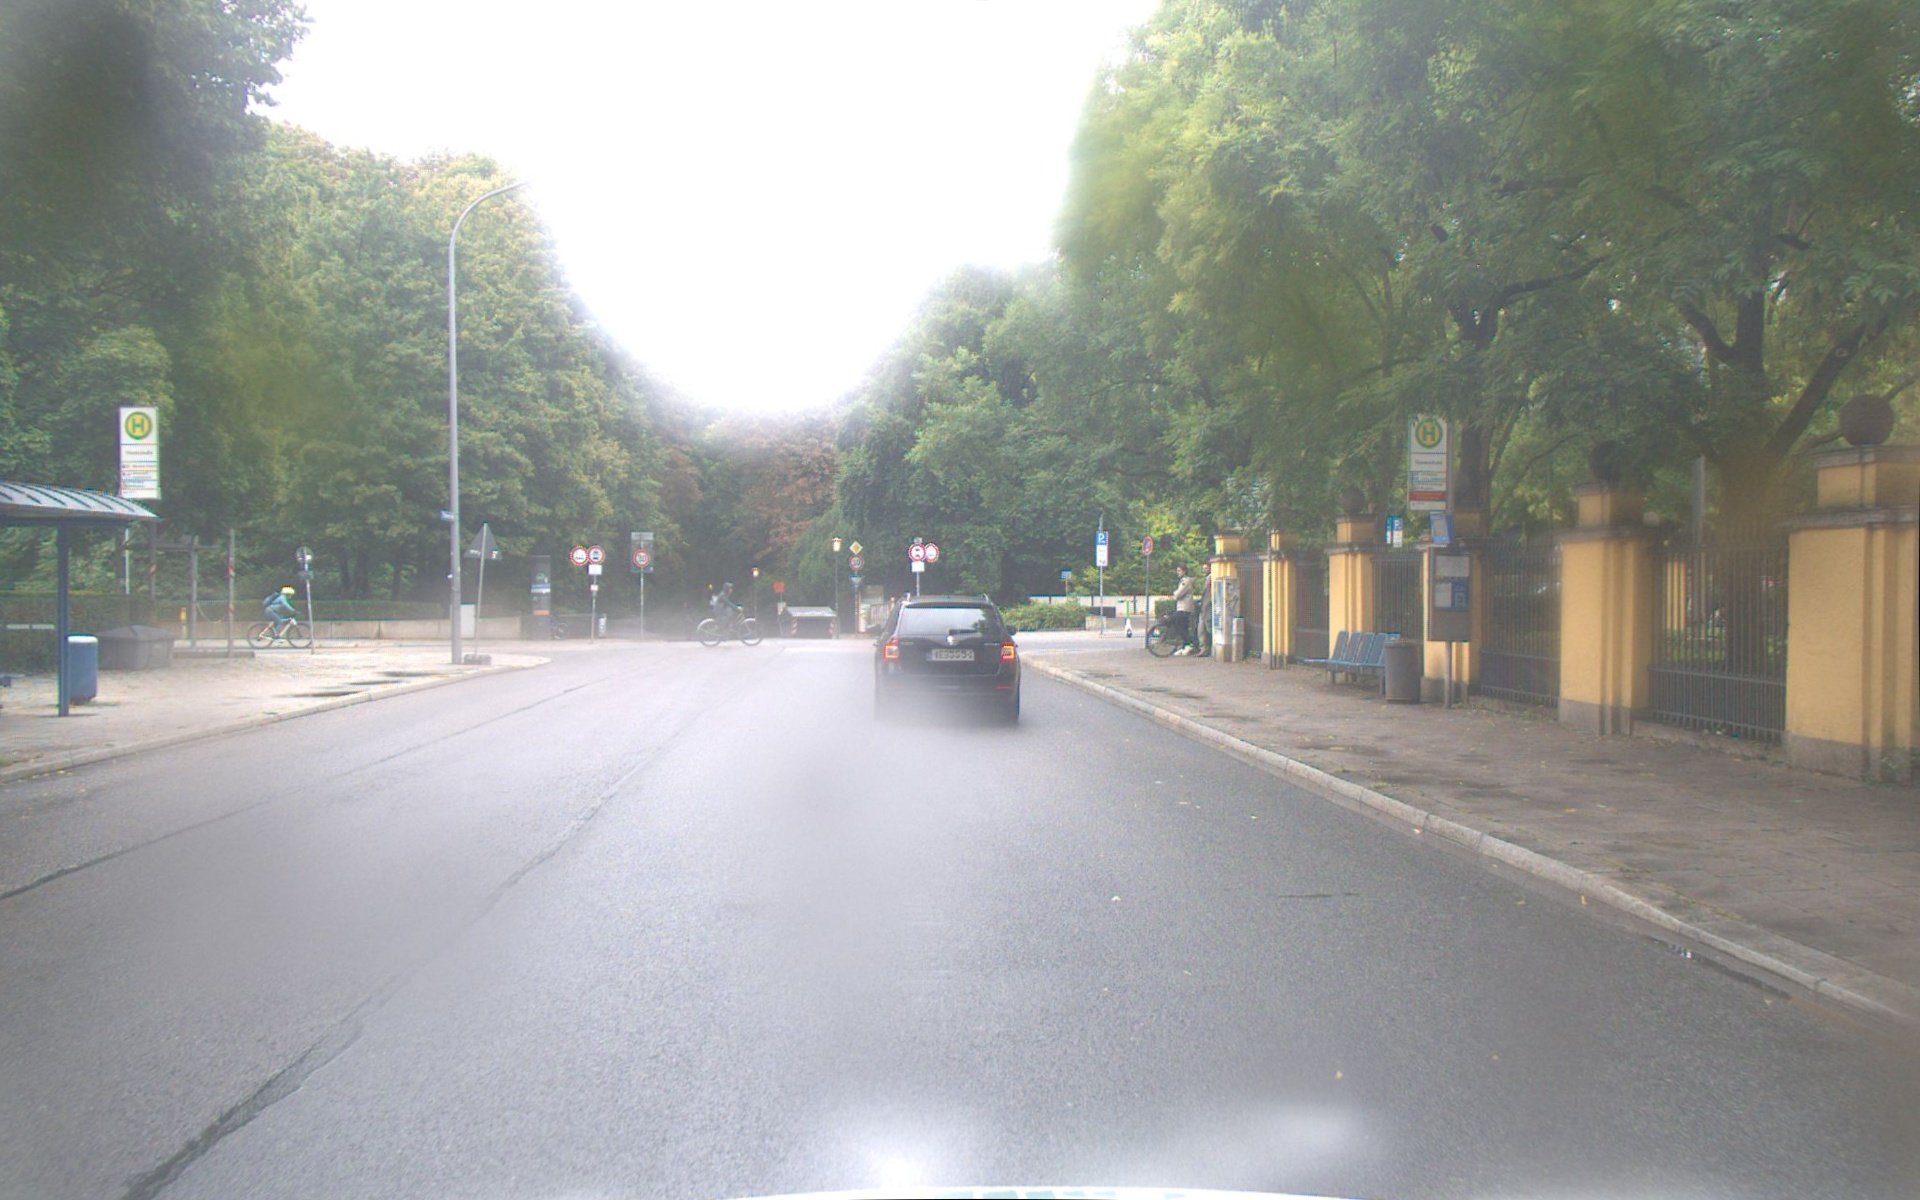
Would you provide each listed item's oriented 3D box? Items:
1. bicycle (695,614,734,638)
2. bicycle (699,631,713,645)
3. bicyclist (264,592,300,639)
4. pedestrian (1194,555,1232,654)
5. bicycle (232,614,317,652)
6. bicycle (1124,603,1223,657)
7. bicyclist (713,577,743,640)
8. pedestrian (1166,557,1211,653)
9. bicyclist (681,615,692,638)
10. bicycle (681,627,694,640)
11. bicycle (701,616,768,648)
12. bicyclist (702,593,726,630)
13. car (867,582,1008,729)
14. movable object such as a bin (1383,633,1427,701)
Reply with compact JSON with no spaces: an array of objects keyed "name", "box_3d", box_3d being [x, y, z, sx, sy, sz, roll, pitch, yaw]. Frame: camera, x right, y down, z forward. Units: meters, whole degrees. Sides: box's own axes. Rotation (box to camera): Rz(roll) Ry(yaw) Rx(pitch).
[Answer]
[{"name":"bicycle","box_3d":[-8.769,0.913,59.072,0.665,0.844,2.111,-1,-1,12]},{"name":"bicycle","box_3d":[-15.472,2.301,100.705,0.668,0.844,2.102,-1,-1,-14]},{"name":"bicyclist","box_3d":[-18.695,0.429,45.598,0.843,1.279,0.519,0,-1,-31]},{"name":"pedestrian","box_3d":[5.093,0.084,33.319,0.531,1.952,0.491,-3,0,-12]},{"name":"bicycle","box_3d":[-18.833,0.906,45.461,2.082,1.008,0.674,0,-1,-31]},{"name":"bicycle","box_3d":[4.360,0.612,33.744,1.872,0.966,0.581,-4,0,-12]},{"name":"bicyclist","box_3d":[-6.072,0.221,43.272,0.737,1.613,0.654,-1,-1,-11]},{"name":"pedestrian","box_3d":[4.755,0.097,34.419,0.662,1.952,0.639,-3,0,-12]},{"name":"bicyclist","box_3d":[-18.732,1.817,113.167,0.669,1.530,0.898,-1,0,-13]},{"name":"bicycle","box_3d":[-18.592,2.282,112.840,0.668,0.844,2.102,-1,-1,-14]},{"name":"bicycle","box_3d":[-5.898,0.836,43.264,1.732,0.810,0.569,0,-1,-11]},{"name":"bicyclist","box_3d":[-8.776,0.420,59.100,0.666,1.305,0.600,-1,0,12]},{"name":"car","box_3d":[-0.305,0.608,20.332,1.545,1.611,4.043,-1,0,-2]},{"name":"movable object such as a bin","box_3d":[5.407,0.805,20.097,0.389,0.794,0.465,-1,0,-2]}]
